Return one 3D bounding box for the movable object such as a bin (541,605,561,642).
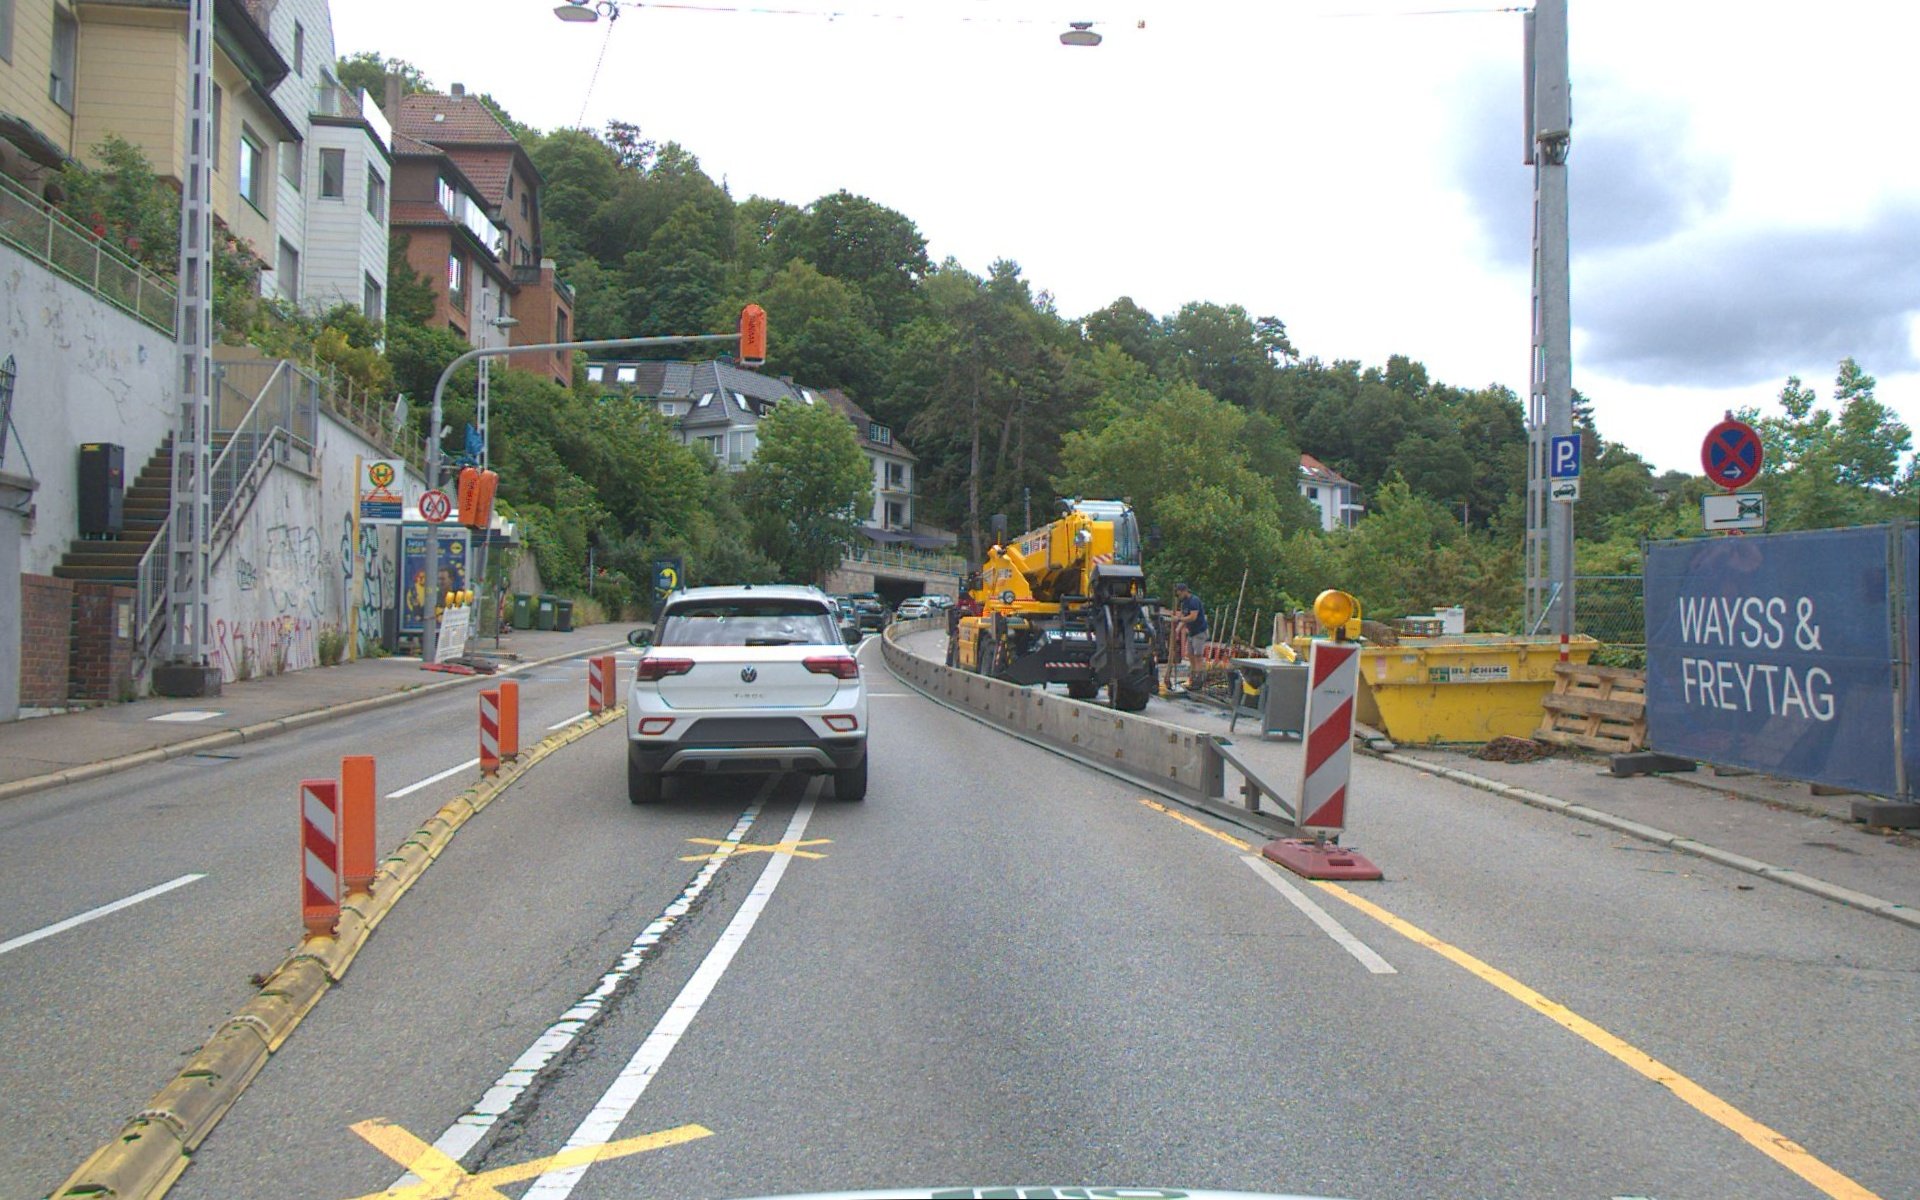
[{"bbox_3d":[-12.301,0.708,49.789,0.458,1.072,0.623,2,-1,-5],"label":"movable object such as a bin"}]

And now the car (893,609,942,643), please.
[{"bbox_3d":[-2.171,1.312,85.479,1.771,1.692,4.003,-1,-1,9],"label":"car"}]

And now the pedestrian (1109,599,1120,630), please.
[{"bbox_3d":[9.749,0.905,104.629,0.675,1.940,0.826,0,-1,6],"label":"pedestrian"}]

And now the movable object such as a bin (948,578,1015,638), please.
[{"bbox_3d":[1.051,0.367,77.470,2.164,2.709,4.948,0,0,13],"label":"movable object such as a bin"}]

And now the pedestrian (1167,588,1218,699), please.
[{"bbox_3d":[3.894,0.719,27.724,0.678,1.826,0.537,0,0,-17],"label":"pedestrian"}]

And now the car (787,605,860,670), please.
[{"bbox_3d":[-3.730,1.016,45.740,1.773,1.692,3.998,-1,-1,-2],"label":"car"}]

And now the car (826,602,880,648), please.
[{"bbox_3d":[-3.748,0.860,58.386,1.758,1.537,3.998,-1,-1,-2],"label":"car"}]

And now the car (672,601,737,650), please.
[{"bbox_3d":[-7.791,0.777,50.614,1.638,1.455,3.584,0,-1,-4],"label":"car"}]

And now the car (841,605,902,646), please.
[{"bbox_3d":[-3.734,1.072,70.431,1.771,1.692,4.003,-1,-1,9],"label":"car"}]

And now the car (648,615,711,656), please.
[{"bbox_3d":[-11.424,1.414,67.547,1.757,1.537,4.000,3,-1,1],"label":"car"}]

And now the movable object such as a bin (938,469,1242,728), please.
[{"bbox_3d":[1.564,0.018,24.096,2.759,3.125,7.808,1,-1,-8],"label":"movable object such as a bin"}]

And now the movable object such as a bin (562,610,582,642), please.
[{"bbox_3d":[-11.697,0.783,49.852,0.458,0.951,0.623,2,-1,-5],"label":"movable object such as a bin"}]

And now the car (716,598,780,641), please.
[{"bbox_3d":[-8.218,0.763,64.500,1.803,1.628,4.264,0,-1,2],"label":"car"}]

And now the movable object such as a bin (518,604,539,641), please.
[{"bbox_3d":[-12.979,0.679,49.738,0.458,1.072,0.623,2,-1,-5],"label":"movable object such as a bin"}]

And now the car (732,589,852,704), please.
[{"bbox_3d":[-2.696,0.714,26.919,1.774,1.692,3.995,-1,-1,-5],"label":"car"}]

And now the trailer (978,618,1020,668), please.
[{"bbox_3d":[1.265,1.332,52.436,1.261,1.501,3.635,1,0,2],"label":"trailer"}]

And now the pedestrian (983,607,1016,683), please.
[{"bbox_3d":[0.913,1.039,38.475,0.632,1.731,0.849,1,-1,-4],"label":"pedestrian"}]

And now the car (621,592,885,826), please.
[{"bbox_3d":[-1.677,0.760,13.330,1.776,1.558,3.993,-1,-1,-8],"label":"car"}]

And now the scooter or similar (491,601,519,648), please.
[{"bbox_3d":[-12.250,0.648,44.538,0.450,1.226,1.433,2,-1,-7],"label":"scooter or similar"}]
